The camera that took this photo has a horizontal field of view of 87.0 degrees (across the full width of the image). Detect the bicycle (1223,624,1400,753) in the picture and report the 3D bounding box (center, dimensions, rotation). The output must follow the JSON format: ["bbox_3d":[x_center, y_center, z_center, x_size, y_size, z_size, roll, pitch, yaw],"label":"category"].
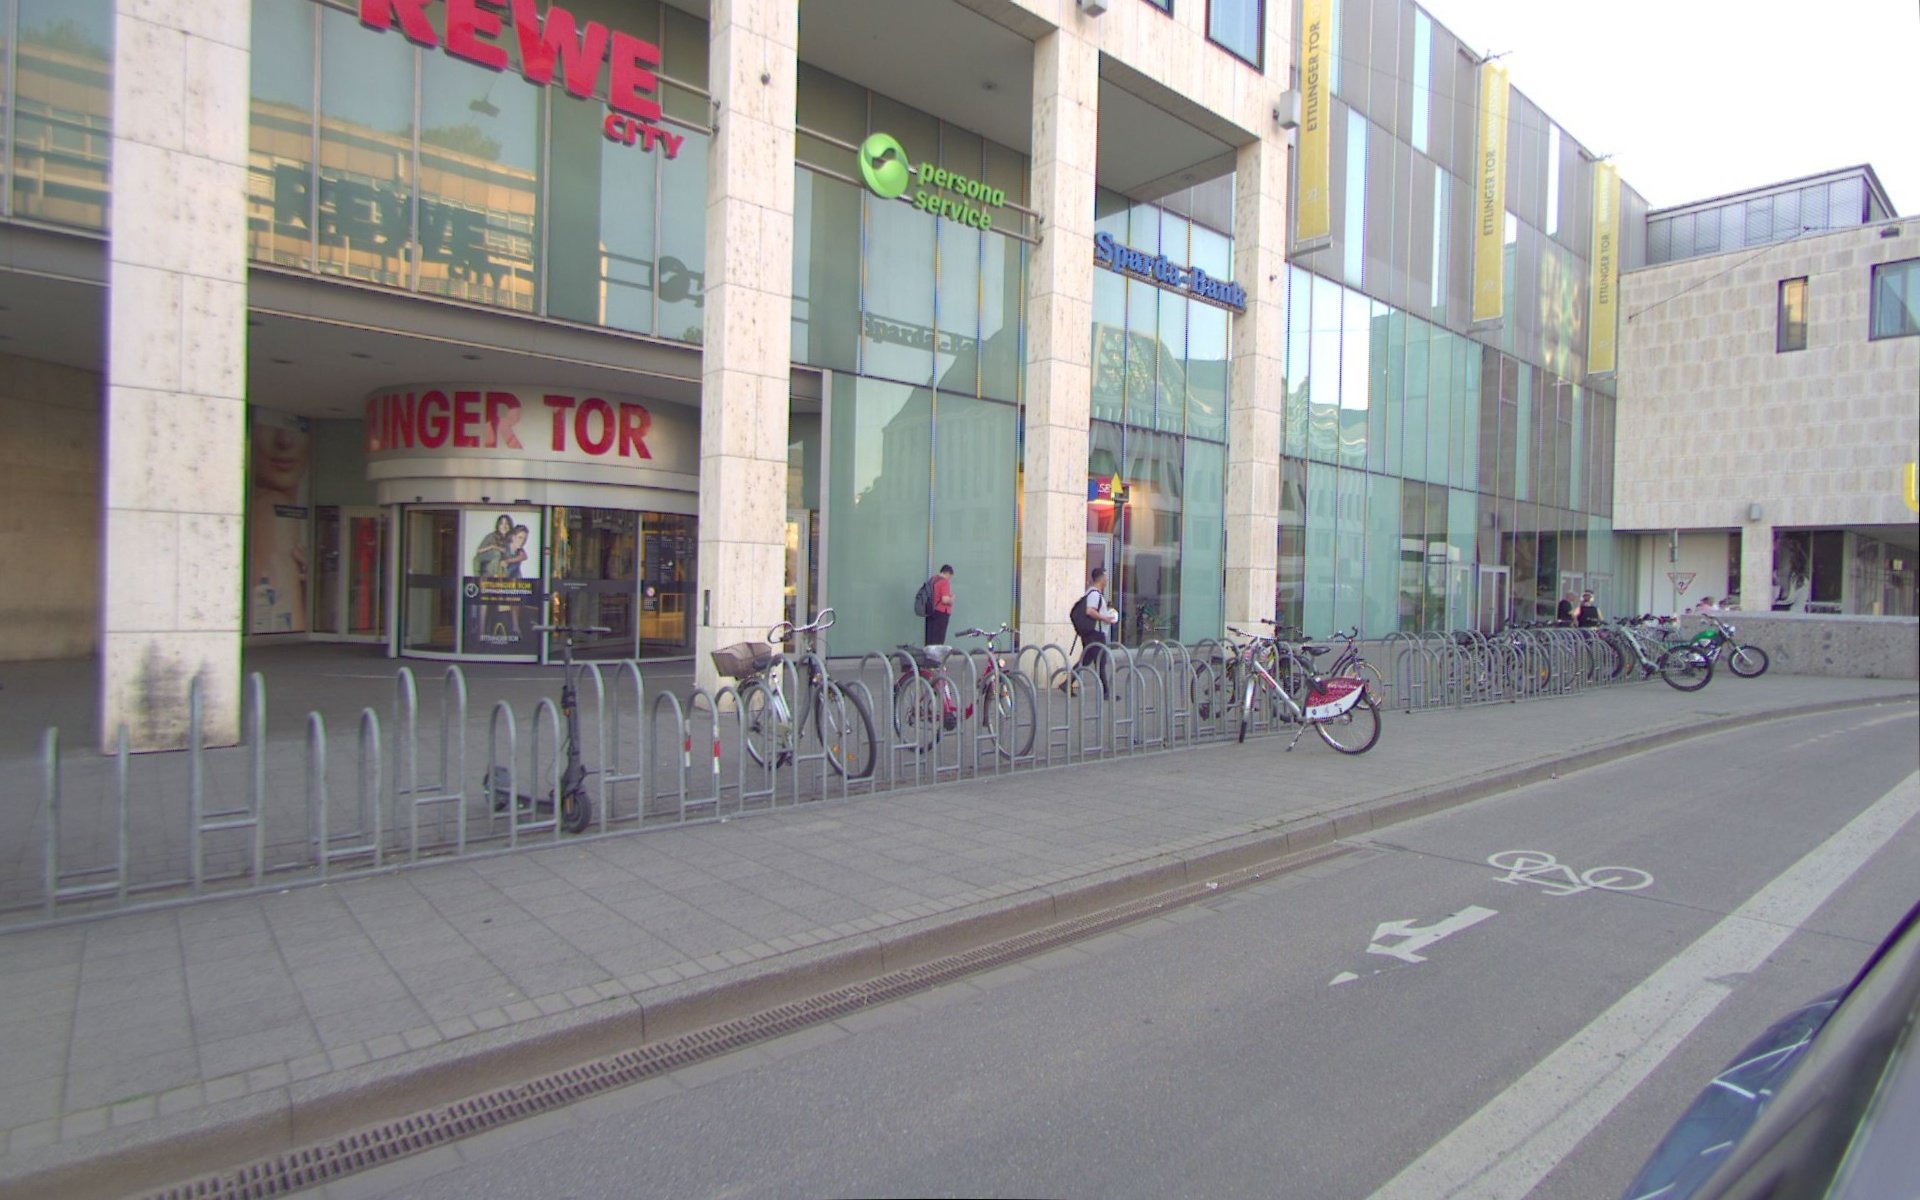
[{"bbox_3d":[3.173,0.760,9.249,0.458,1.077,1.518,1,-2,-39],"label":"bicycle"}]

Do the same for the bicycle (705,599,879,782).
[{"bbox_3d":[-1.304,0.626,7.669,0.607,1.243,1.517,1,-2,-41],"label":"bicycle"}]

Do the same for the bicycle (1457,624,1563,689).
[{"bbox_3d":[8.458,0.855,15.587,0.509,0.944,1.344,1,-2,-41],"label":"bicycle"}]

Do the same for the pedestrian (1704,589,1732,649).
[{"bbox_3d":[22.973,0.574,30.660,0.644,1.765,0.494,1,1,-38],"label":"pedestrian"}]

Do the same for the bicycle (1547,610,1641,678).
[{"bbox_3d":[11.397,0.769,18.222,0.509,1.179,1.344,1,-2,-41],"label":"bicycle"}]

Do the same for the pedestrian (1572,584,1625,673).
[{"bbox_3d":[12.301,0.537,19.524,0.802,1.663,0.640,2,1,31],"label":"pedestrian"}]

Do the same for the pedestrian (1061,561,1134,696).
[{"bbox_3d":[1.797,0.365,13.261,0.693,1.713,0.631,1,1,-22],"label":"pedestrian"}]

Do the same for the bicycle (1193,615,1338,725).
[{"bbox_3d":[3.381,0.742,11.312,0.569,1.138,1.519,1,-1,-36],"label":"bicycle"}]

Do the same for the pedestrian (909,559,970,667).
[{"bbox_3d":[-0.329,0.198,16.168,0.695,1.672,0.629,1,1,-40],"label":"pedestrian"}]

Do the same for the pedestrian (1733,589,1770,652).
[{"bbox_3d":[22.893,0.582,29.273,0.797,1.802,0.619,1,1,-38],"label":"pedestrian"}]

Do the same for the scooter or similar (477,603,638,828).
[{"bbox_3d":[-2.516,0.652,6.277,0.484,1.214,1.194,1,1,-44],"label":"scooter or similar"}]

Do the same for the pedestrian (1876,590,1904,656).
[{"bbox_3d":[25.567,0.630,27.813,0.483,1.765,0.455,1,1,-38],"label":"pedestrian"}]

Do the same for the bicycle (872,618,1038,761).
[{"bbox_3d":[-0.073,0.714,8.672,0.543,1.120,1.516,1,-2,-43],"label":"bicycle"}]

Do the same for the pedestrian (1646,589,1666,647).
[{"bbox_3d":[21.696,0.553,31.563,0.444,1.765,0.364,1,1,-38],"label":"pedestrian"}]

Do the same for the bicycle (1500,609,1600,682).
[{"bbox_3d":[9.834,0.737,16.897,0.509,1.179,1.344,1,-2,-41],"label":"bicycle"}]

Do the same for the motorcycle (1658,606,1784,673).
[{"bbox_3d":[15.582,0.790,20.768,0.472,1.239,2.004,1,1,-43],"label":"motorcycle"}]

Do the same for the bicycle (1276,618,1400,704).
[{"bbox_3d":[5.015,0.781,13.452,1.439,1.078,0.572,-1,-2,39],"label":"bicycle"}]

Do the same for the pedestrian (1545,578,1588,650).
[{"bbox_3d":[14.524,0.324,24.244,0.813,1.668,0.733,2,1,30],"label":"pedestrian"}]

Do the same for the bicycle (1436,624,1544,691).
[{"bbox_3d":[7.947,0.842,15.208,0.509,0.944,1.344,1,-2,-41],"label":"bicycle"}]

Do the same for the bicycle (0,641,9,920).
[{"bbox_3d":[-4.633,0.703,4.484,1.768,1.092,0.475,3,1,43],"label":"bicycle"}]

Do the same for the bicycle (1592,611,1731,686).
[{"bbox_3d":[11.568,0.774,16.746,0.458,1.161,1.837,1,-2,-39],"label":"bicycle"}]

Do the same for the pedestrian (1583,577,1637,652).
[{"bbox_3d":[15.402,0.329,23.999,0.807,1.717,0.697,2,1,9],"label":"pedestrian"}]

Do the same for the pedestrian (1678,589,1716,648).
[{"bbox_3d":[22.945,0.566,31.512,0.644,1.765,0.794,1,1,-38],"label":"pedestrian"}]
